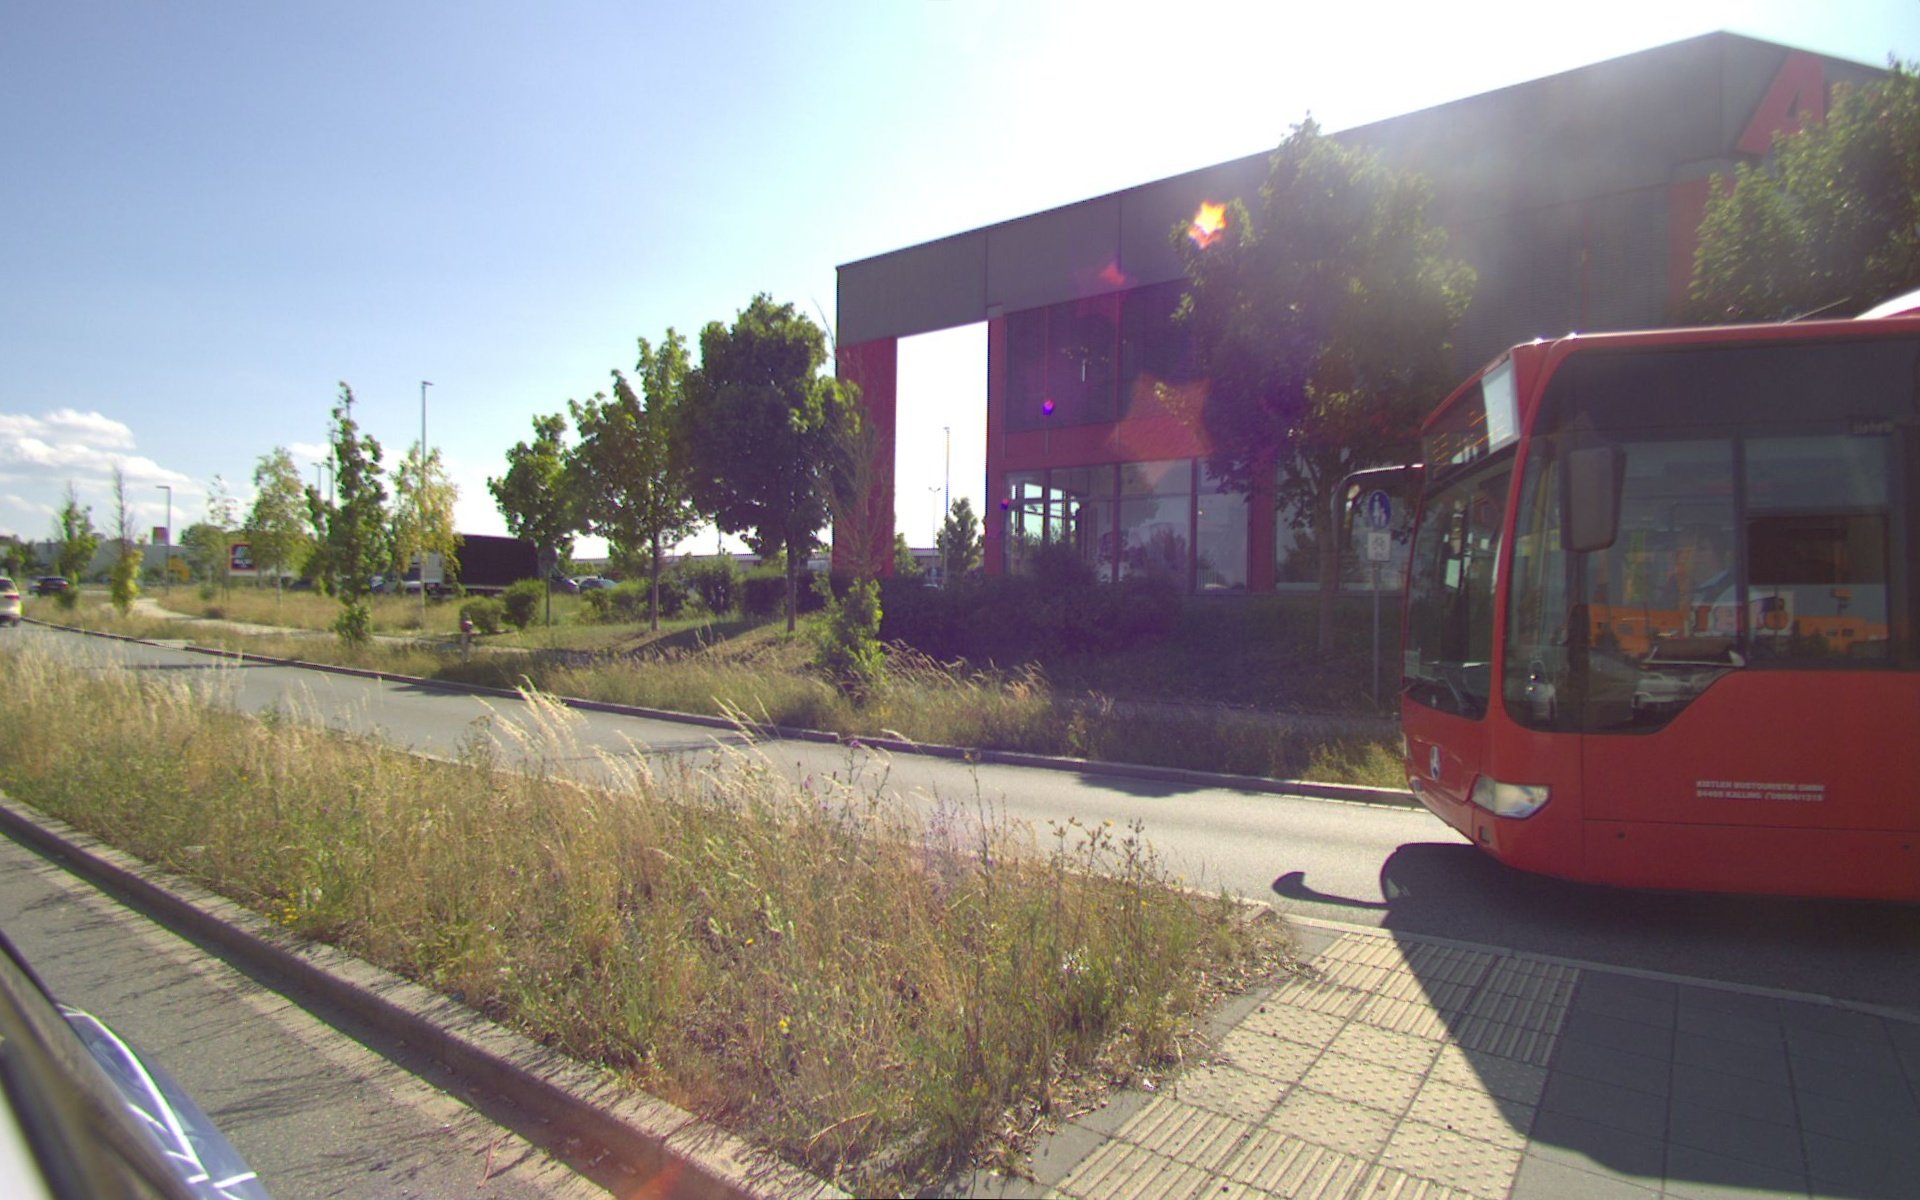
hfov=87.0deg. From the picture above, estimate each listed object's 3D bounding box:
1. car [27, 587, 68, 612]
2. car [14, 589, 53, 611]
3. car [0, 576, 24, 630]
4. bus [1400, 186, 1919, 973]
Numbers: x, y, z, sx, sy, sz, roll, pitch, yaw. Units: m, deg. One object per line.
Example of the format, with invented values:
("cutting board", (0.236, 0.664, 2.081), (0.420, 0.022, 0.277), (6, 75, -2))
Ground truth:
("car", (-64.243, -0.036, 71.237), (1.970, 1.630, 4.003), (2, -1, -44))
("car", (-74.824, 0.037, 81.805), (1.968, 1.696, 4.008), (2, -1, -38))
("car", (-32.398, 0.081, 33.208), (4.151, 1.728, 1.839), (0, -1, 38))
("bus", (8.546, -0.085, 4.443), (11.762, 3.266, 2.606), (0, -3, 13))
